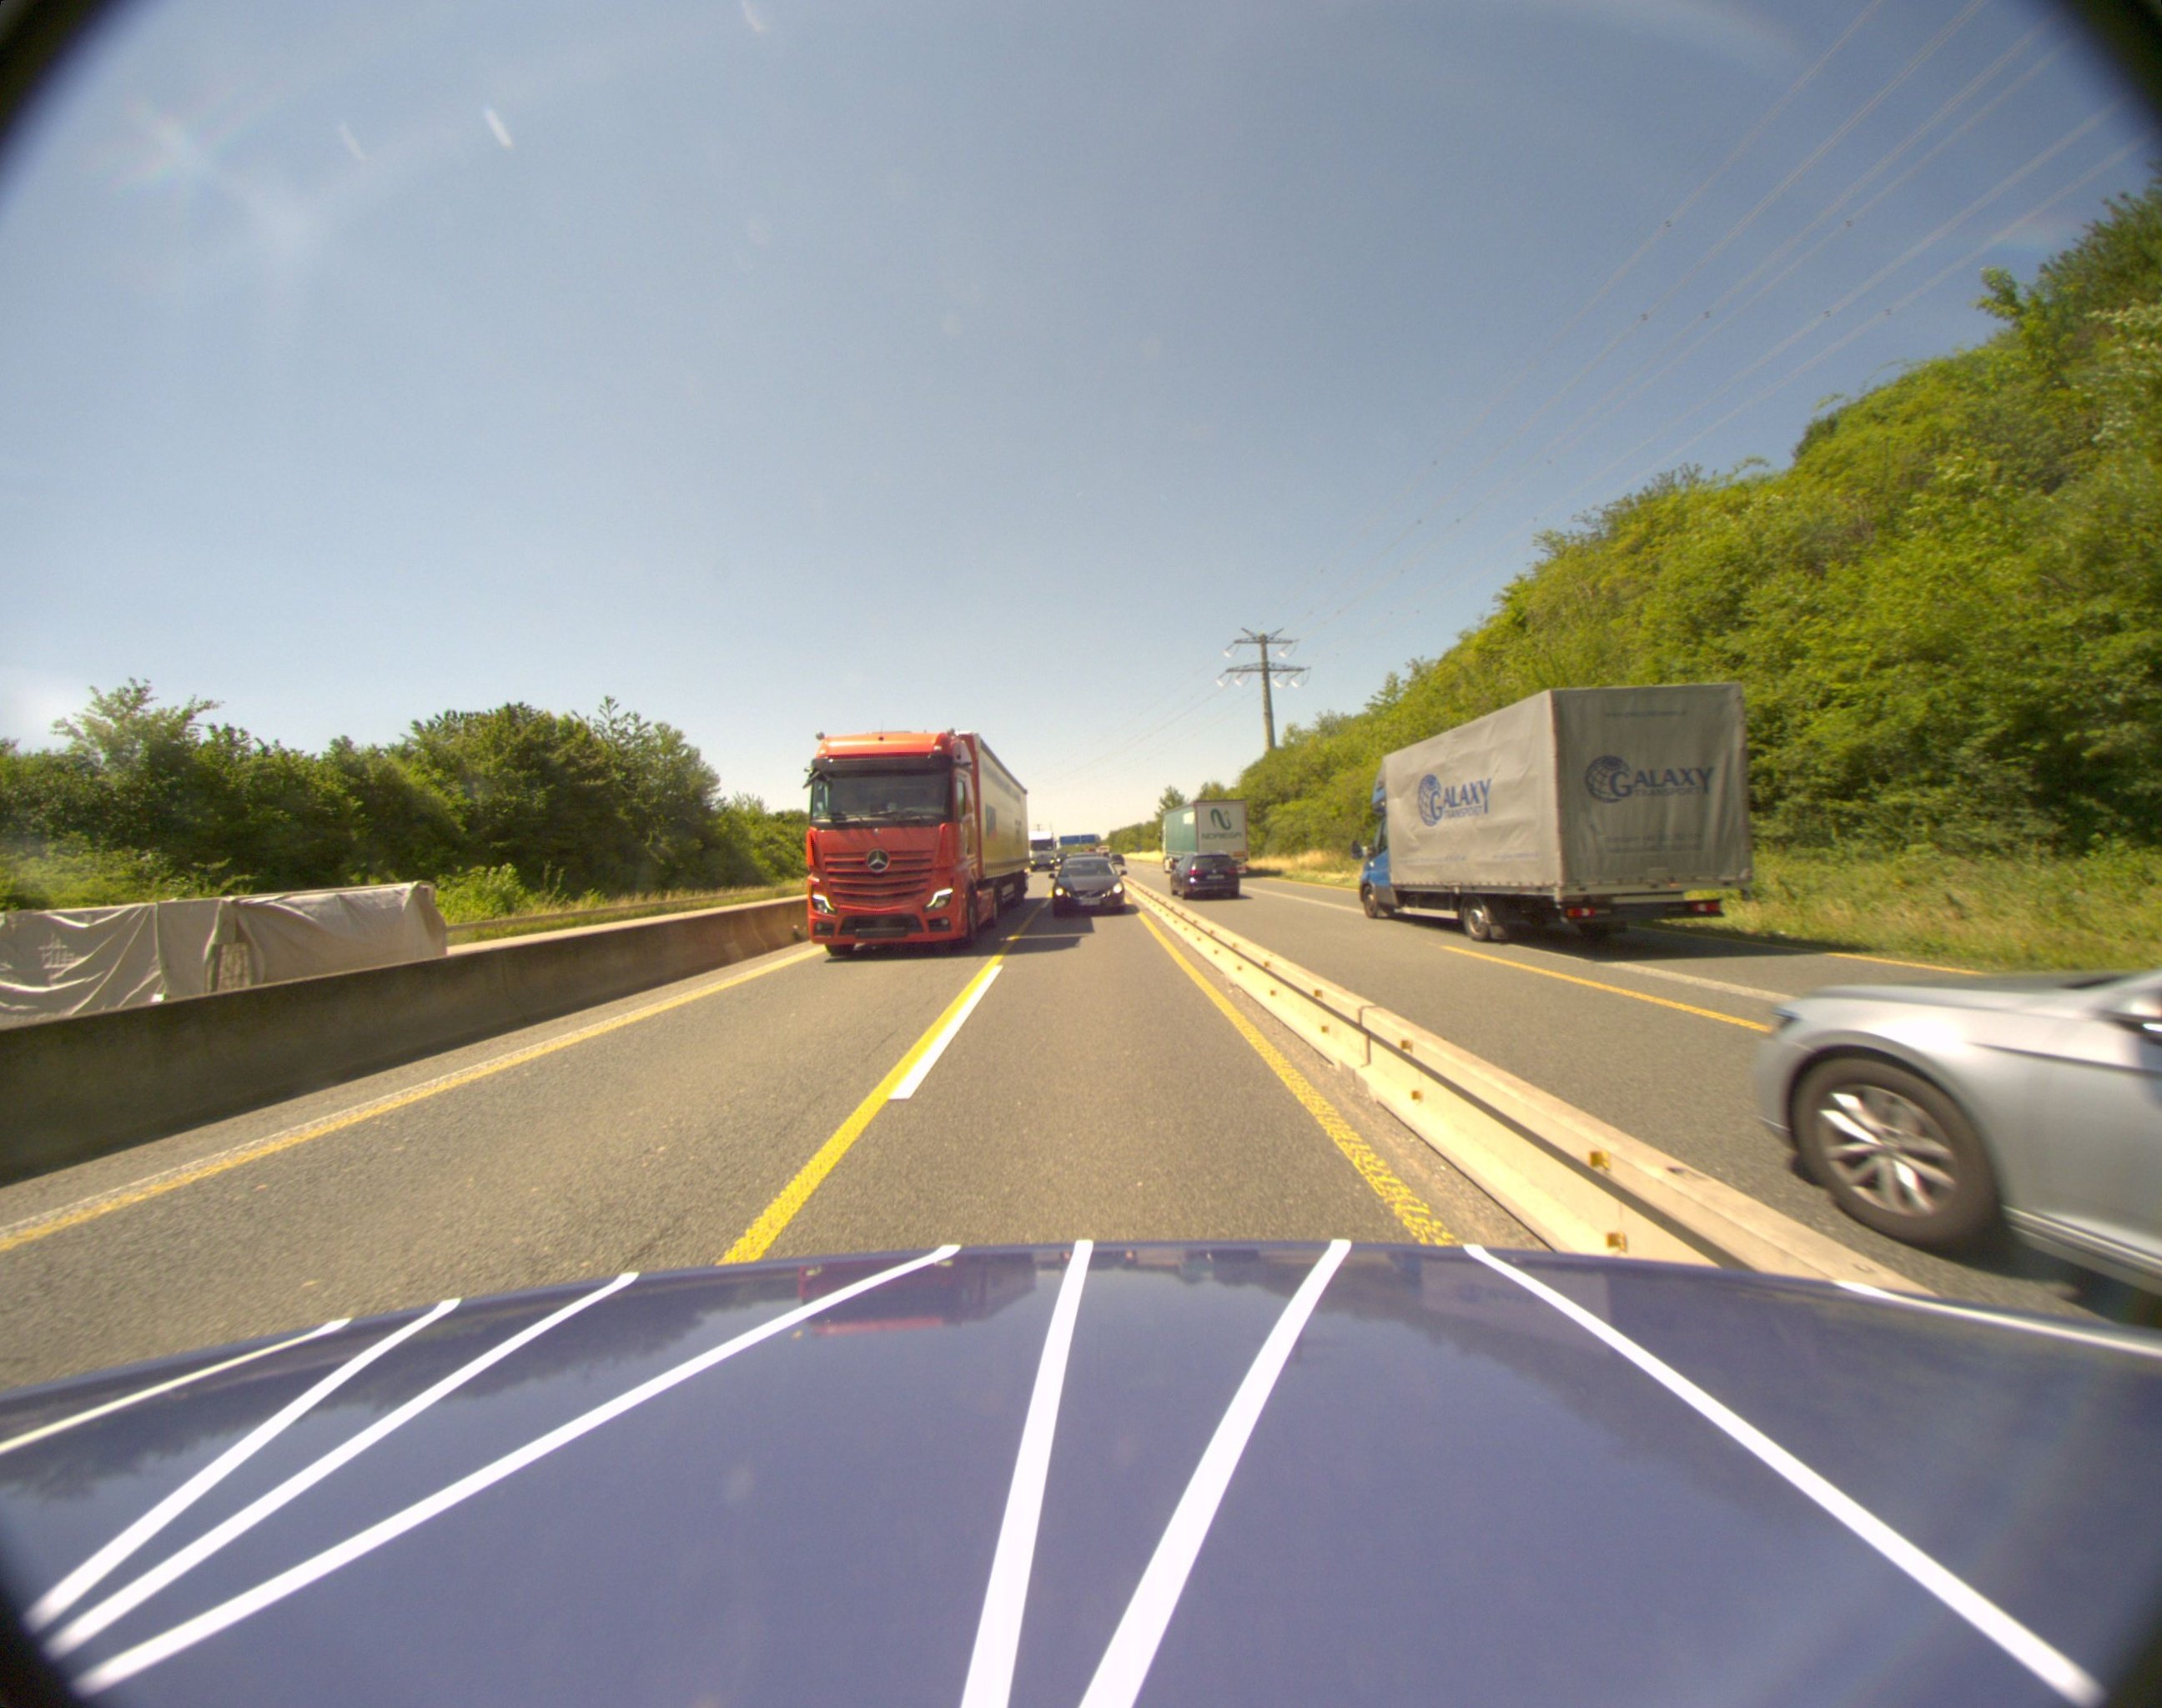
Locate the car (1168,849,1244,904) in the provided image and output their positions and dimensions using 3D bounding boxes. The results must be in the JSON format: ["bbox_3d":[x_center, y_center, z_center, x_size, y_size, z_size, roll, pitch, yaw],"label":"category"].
[{"bbox_3d":[3.920,0.645,24.501,1.765,1.481,4.401,-3,1,1],"label":"car"}]

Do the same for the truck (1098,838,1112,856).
[{"bbox_3d":[5.481,-1.640,176.870,2.943,3.754,11.378,-4,0,1],"label":"truck"}]

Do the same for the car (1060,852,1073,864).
[{"bbox_3d":[-2.123,0.579,109.777,1.767,1.523,4.697,-3,1,-1],"label":"car"}]

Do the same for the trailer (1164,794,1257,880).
[{"bbox_3d":[7.051,-0.889,43.854,2.899,4.101,13.242,-3,0,0],"label":"trailer"}]

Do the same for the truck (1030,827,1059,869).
[{"bbox_3d":[-3.758,-0.651,81.440,2.481,4.030,13.108,-3,0,-1],"label":"truck"}]

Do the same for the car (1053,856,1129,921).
[{"bbox_3d":[0.255,0.837,20.608,1.767,1.411,4.698,-3,1,1],"label":"car"}]

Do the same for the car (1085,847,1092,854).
[{"bbox_3d":[2.325,-1.144,237.310,1.855,2.044,4.348,-3,1,0],"label":"car"}]

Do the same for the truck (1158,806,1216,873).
[{"bbox_3d":[6.997,-0.920,50.898,2.902,4.094,6.019,-2,1,0],"label":"truck"}]

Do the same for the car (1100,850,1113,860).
[{"bbox_3d":[4.101,0.126,123.501,1.904,1.507,4.275,-3,1,1],"label":"car"}]

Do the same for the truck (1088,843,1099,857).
[{"bbox_3d":[3.584,-1.227,218.239,2.810,3.754,11.377,-4,0,0],"label":"truck"}]

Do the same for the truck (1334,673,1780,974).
[{"bbox_3d":[6.673,-0.354,12.390,2.412,3.311,7.499,-3,0,-1],"label":"truck"}]

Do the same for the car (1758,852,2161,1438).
[{"bbox_3d":[3.747,0.783,0.911,1.846,1.481,4.509,-1,1,0],"label":"car"}]

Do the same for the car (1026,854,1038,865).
[{"bbox_3d":[-7.883,0.878,123.588,1.767,1.523,4.697,-3,1,-2],"label":"car"}]

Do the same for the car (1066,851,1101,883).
[{"bbox_3d":[0.158,0.654,41.662,1.767,1.523,4.698,-3,1,1],"label":"car"}]

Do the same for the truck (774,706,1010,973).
[{"bbox_3d":[-3.212,-0.261,15.034,2.689,3.987,6.724,-3,1,1],"label":"truck"}]

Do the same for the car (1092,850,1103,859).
[{"bbox_3d":[3.246,0.082,149.539,1.904,1.580,4.275,-3,1,1],"label":"car"}]

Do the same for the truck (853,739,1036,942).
[{"bbox_3d":[-3.145,-0.358,22.002,2.689,3.987,13.216,-3,1,0],"label":"truck"}]

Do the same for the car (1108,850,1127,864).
[{"bbox_3d":[4.255,0.363,89.129,1.904,1.496,4.275,-3,1,0],"label":"car"}]
